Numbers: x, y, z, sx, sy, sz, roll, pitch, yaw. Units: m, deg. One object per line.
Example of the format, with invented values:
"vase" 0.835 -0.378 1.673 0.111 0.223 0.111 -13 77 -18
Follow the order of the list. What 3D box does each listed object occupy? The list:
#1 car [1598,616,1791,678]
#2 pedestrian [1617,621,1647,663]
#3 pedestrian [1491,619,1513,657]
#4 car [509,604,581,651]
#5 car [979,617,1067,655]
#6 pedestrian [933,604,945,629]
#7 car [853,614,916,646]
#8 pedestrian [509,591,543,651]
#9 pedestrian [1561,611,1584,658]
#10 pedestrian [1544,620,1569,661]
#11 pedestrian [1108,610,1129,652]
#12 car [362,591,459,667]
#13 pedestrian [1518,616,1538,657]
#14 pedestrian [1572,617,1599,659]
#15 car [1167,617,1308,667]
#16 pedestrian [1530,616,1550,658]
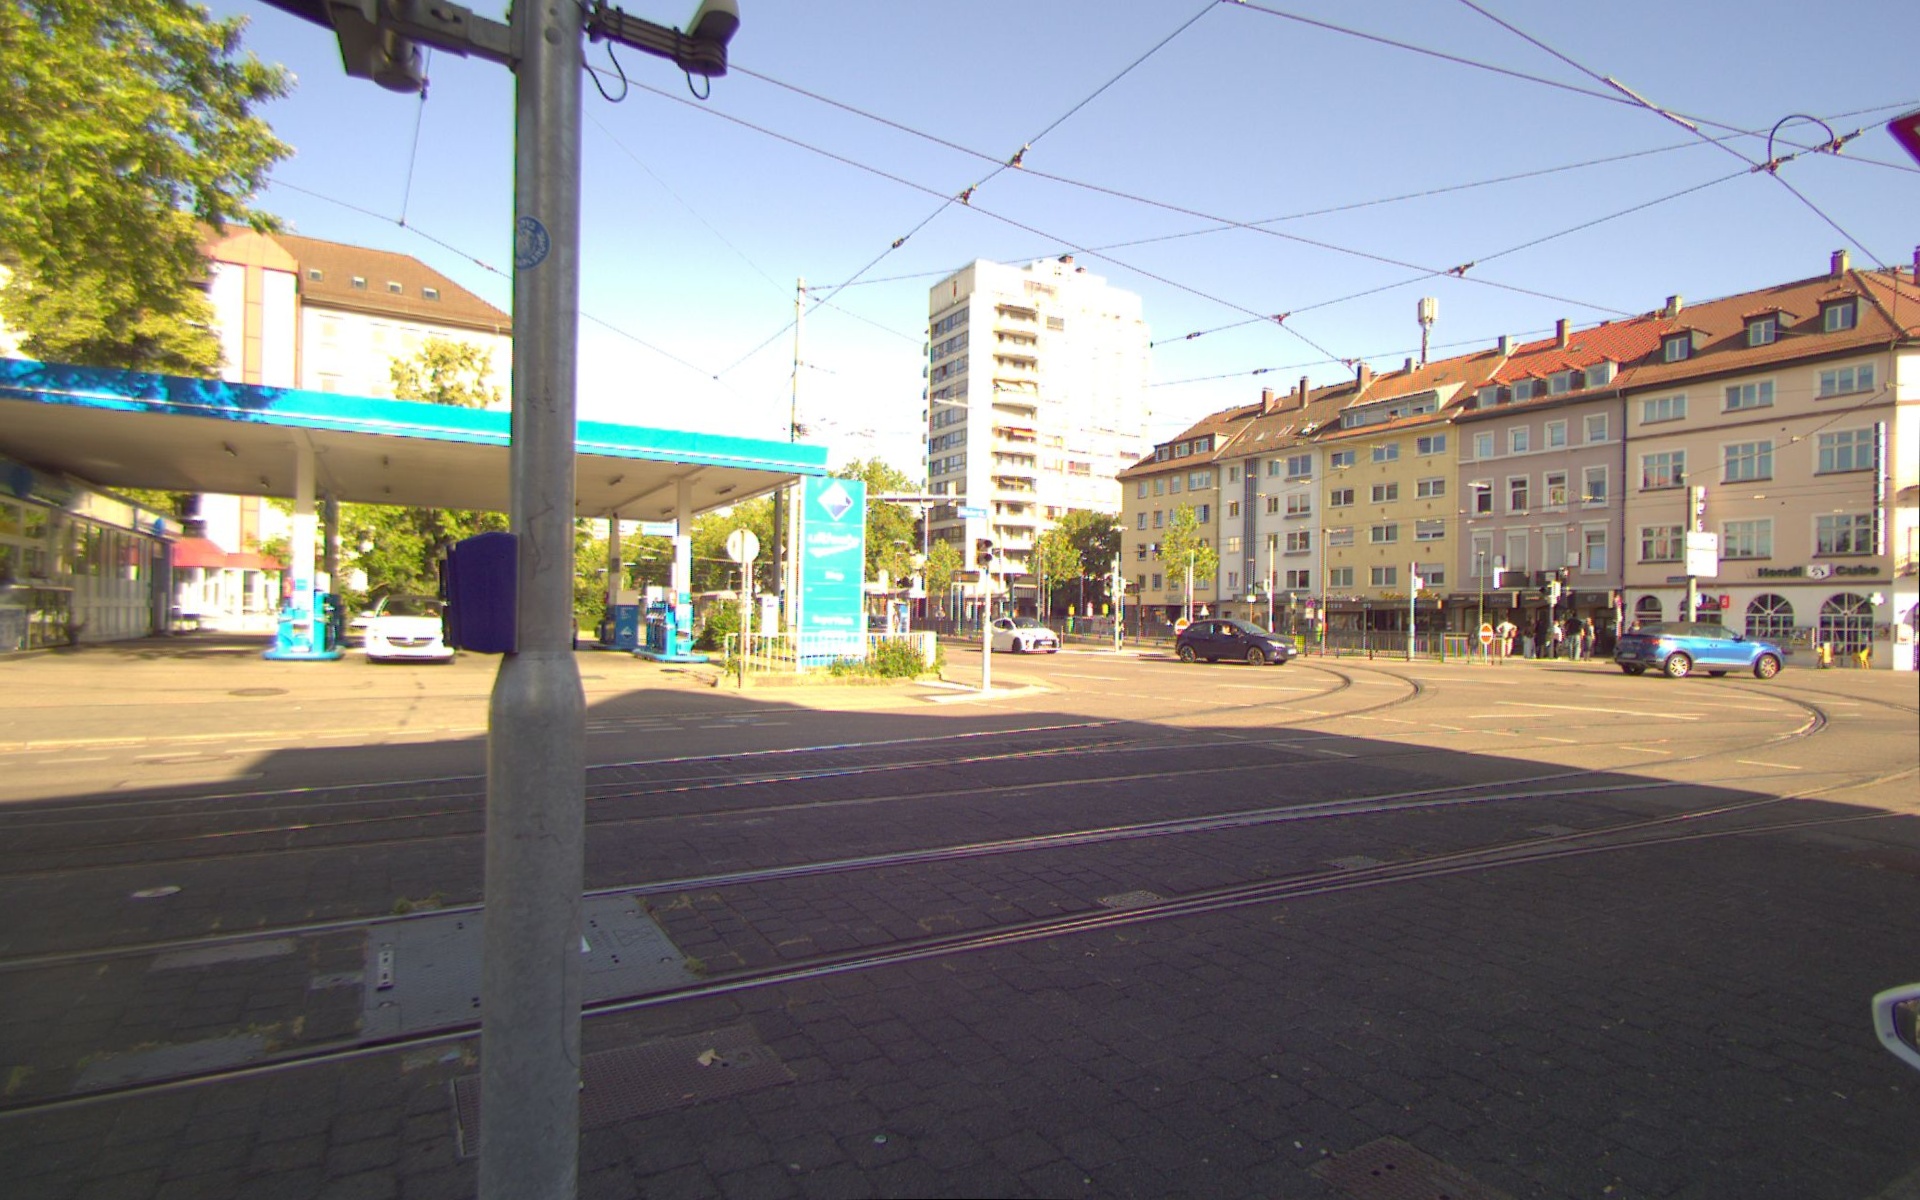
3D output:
"car" 20.525 1.296 28.180 4.117 1.596 1.831 1 0 -2
"pedestrian" 26.490 1.638 39.622 0.805 1.615 0.665 2 0 -30
"pedestrian" 23.845 1.672 44.168 0.609 1.670 0.581 2 0 -30
"car" -13.521 0.861 32.650 1.659 1.372 3.559 2 0 -31
"car" 2.517 1.430 41.074 1.874 1.473 3.980 0 -1 -27
"pedestrian" -1.857 1.456 88.062 0.729 2.127 0.880 2 0 -21
"car" -4.074 1.585 53.684 1.770 1.524 3.886 -3 1 -31
"pedestrian" -12.762 0.623 29.533 0.838 1.724 0.644 2 -3 -31
"pedestrian" 24.750 1.397 40.585 0.669 1.847 0.524 2 0 -30
"pedestrian" 25.181 1.713 42.399 0.719 1.670 0.570 2 0 -30
"pedestrian" 6.410 1.245 40.673 0.750 1.631 0.613 2 0 15
"car" -12.220 0.593 22.359 1.723 1.455 3.905 2 1 -29
"pedestrian" 23.617 1.515 41.761 0.492 1.670 0.520 2 0 -30
"pedestrian" 25.593 1.564 41.084 0.831 1.670 0.579 2 0 -30
"car" 8.727 1.289 31.814 3.946 1.422 1.820 0 -1 45
"pedestrian" 23.752 1.516 41.125 0.492 1.670 0.520 2 0 -30
